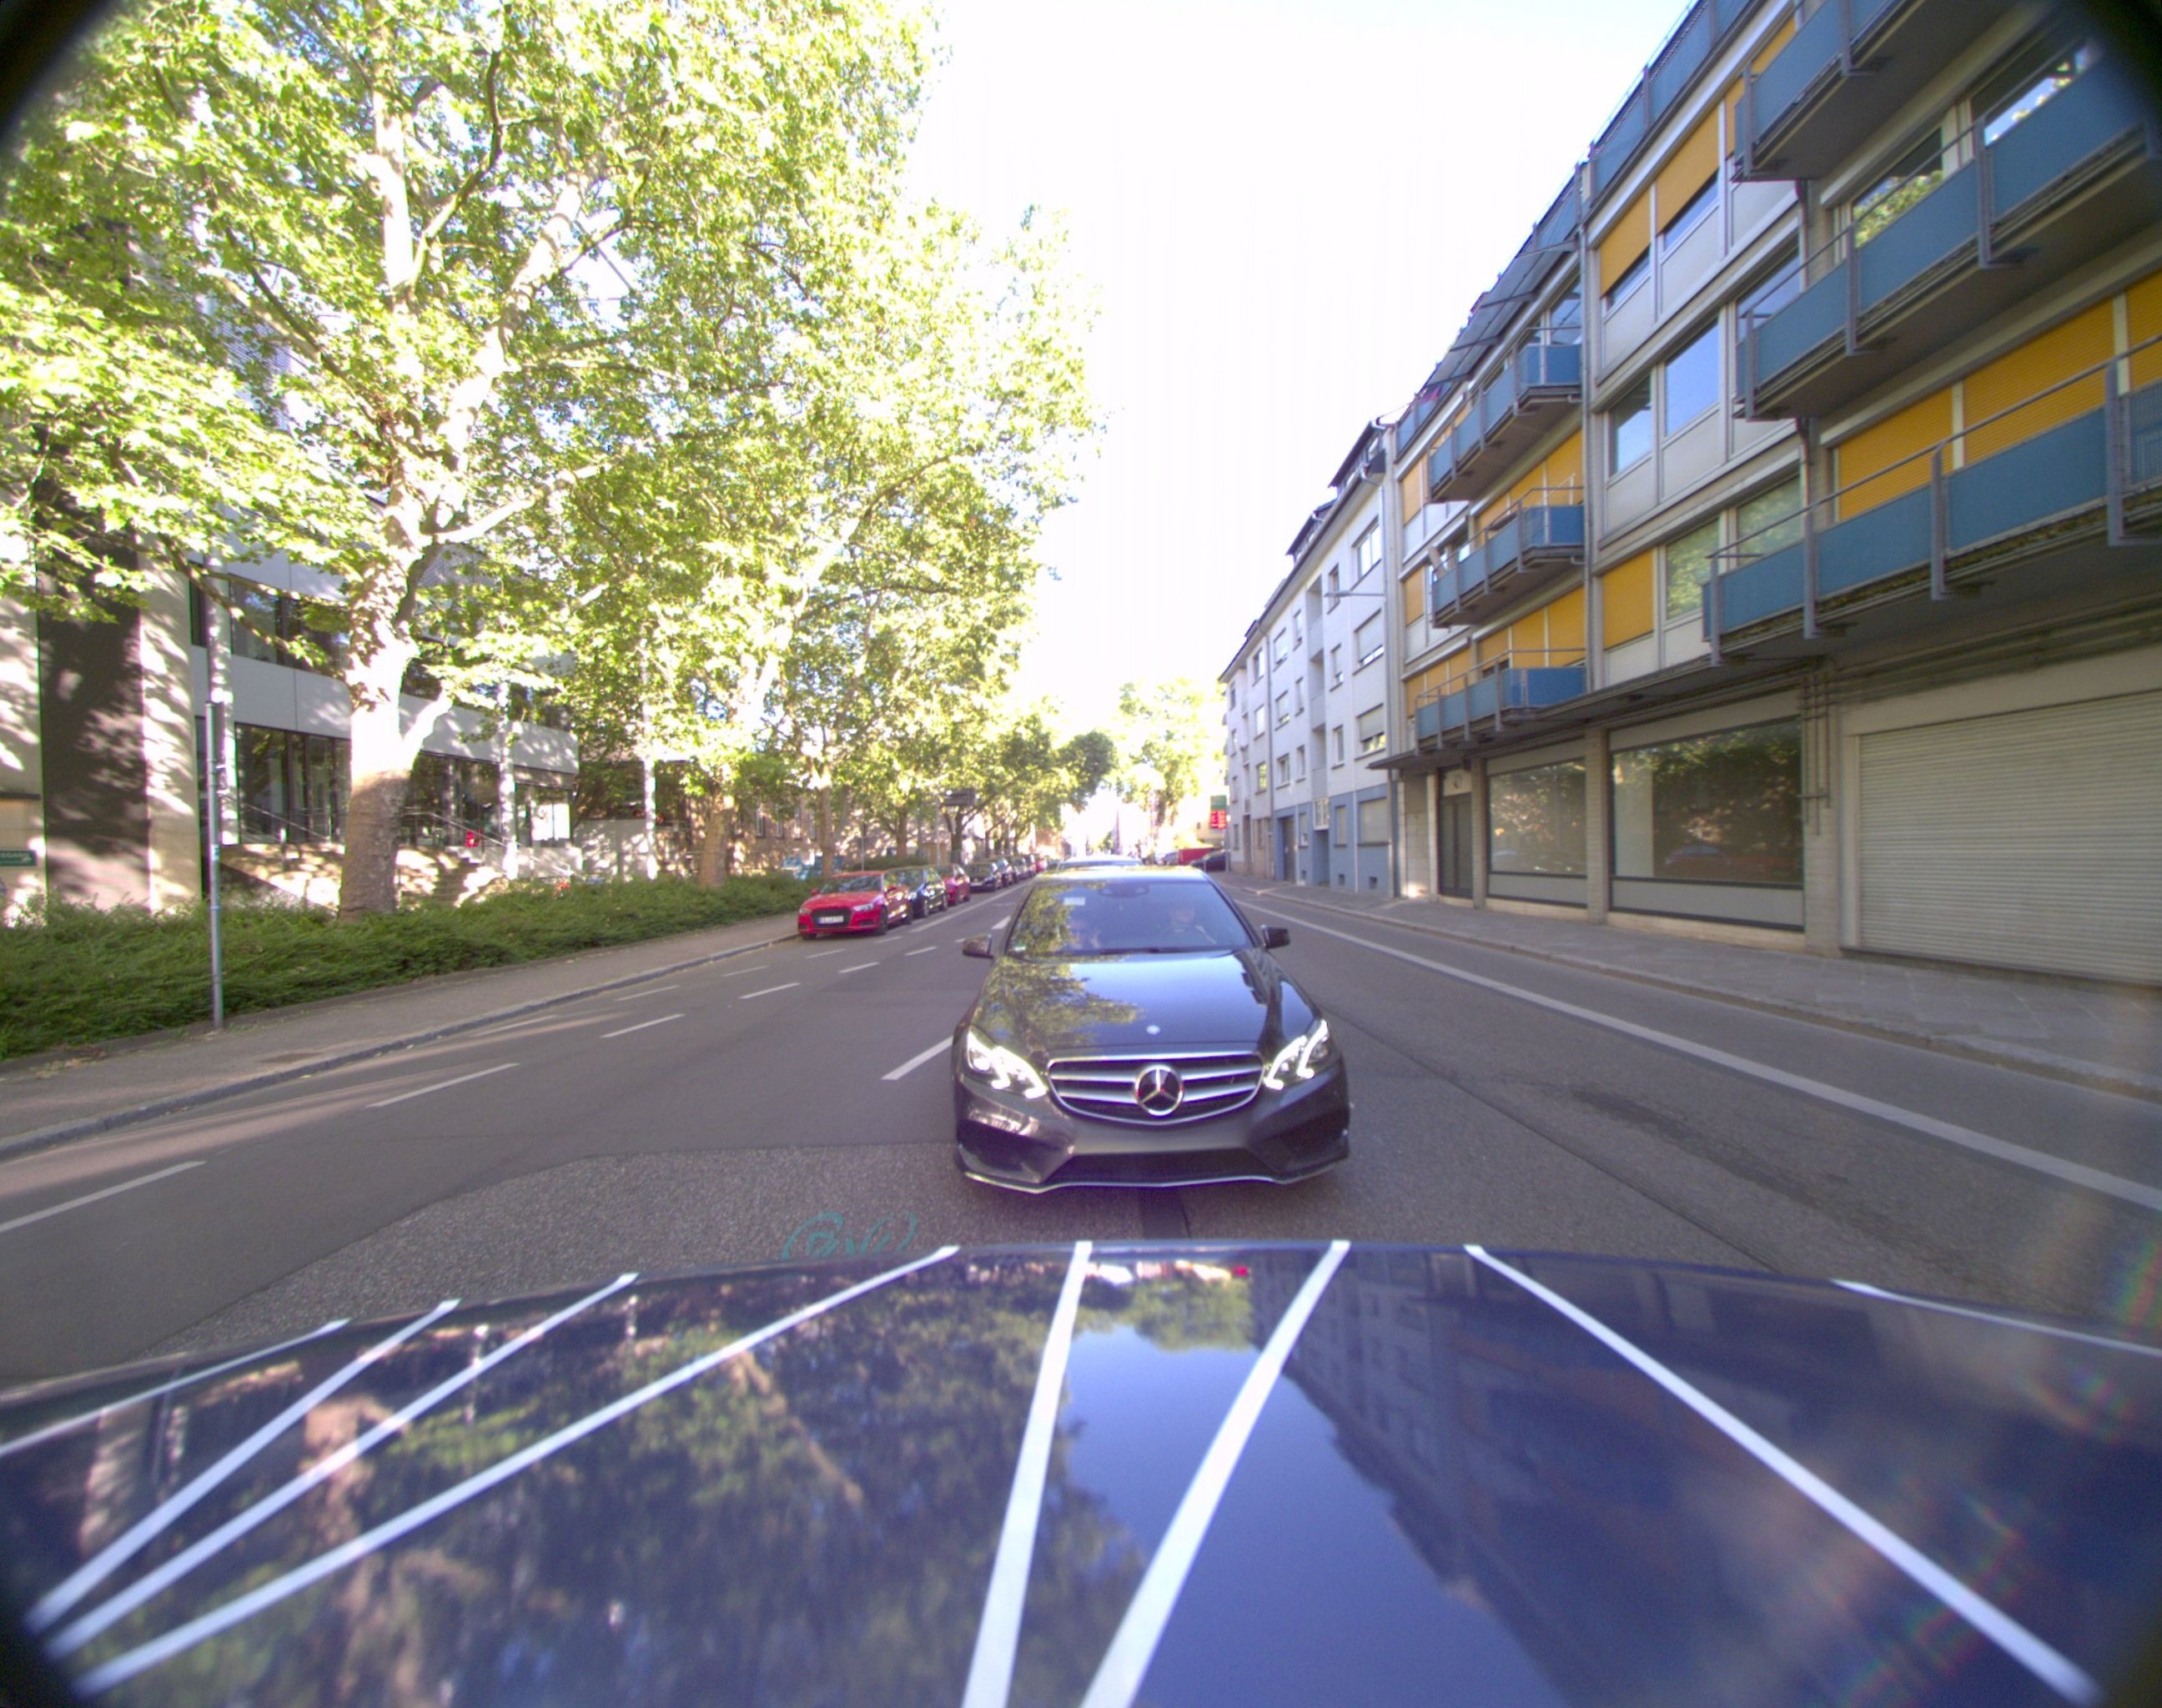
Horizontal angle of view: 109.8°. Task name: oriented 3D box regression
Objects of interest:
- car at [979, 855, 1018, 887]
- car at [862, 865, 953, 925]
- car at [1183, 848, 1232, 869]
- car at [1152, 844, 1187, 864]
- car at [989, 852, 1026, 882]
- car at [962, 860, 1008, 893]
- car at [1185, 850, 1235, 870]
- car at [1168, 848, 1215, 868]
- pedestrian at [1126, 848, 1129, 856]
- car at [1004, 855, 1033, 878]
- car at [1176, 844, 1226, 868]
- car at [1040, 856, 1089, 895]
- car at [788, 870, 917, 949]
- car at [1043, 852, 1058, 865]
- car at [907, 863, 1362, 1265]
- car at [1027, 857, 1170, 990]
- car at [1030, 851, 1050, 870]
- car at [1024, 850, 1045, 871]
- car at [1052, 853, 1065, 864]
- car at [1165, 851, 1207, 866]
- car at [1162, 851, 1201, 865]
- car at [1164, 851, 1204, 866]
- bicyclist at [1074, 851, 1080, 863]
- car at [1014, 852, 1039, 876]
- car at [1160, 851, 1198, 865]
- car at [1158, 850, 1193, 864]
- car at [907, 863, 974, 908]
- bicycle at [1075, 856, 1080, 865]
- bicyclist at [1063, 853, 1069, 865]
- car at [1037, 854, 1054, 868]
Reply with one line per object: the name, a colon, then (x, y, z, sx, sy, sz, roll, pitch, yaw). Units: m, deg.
car: (-4.536, 0.907, 42.068, 1.686, 1.610, 3.836, -2, 0, 0)
car: (-5.010, 1.128, 22.423, 1.686, 1.458, 4.000, -3, 0, 0)
car: (10.129, 0.359, 61.140, 3.668, 1.501, 1.602, -2, 1, 2)
car: (10.399, 0.026, 89.314, 3.905, 2.164, 1.725, -2, 1, 2)
car: (-4.593, 0.771, 48.193, 1.819, 1.758, 4.431, -2, 0, 0)
car: (-4.664, 1.047, 37.408, 1.686, 1.443, 4.000, -2, 0, 0)
car: (9.960, 0.459, 58.735, 3.598, 1.401, 1.534, -2, 0, 2)
car: (9.715, 0.332, 66.780, 3.905, 1.577, 1.603, -2, 1, 2)
pedestrian: (12.729, -0.438, 207.596, 0.884, 2.108, 0.821, -2, 1, 4)
car: (-4.425, 0.875, 54.517, 1.686, 1.552, 3.868, -2, 0, 0)
car: (10.074, 0.167, 63.985, 3.905, 1.895, 1.749, -2, 1, 2)
car: (-0.647, 0.881, 32.554, 1.693, 1.432, 3.902, -3, 0, 3)
car: (-5.128, 1.189, 17.664, 1.724, 1.412, 4.030, -4, 0, -1)
car: (-3.792, 0.597, 95.690, 1.686, 1.546, 3.836, -2, 0, 0)
car: (0.216, 0.897, 5.288, 1.828, 1.495, 4.293, -2, 1, 0)
car: (0.208, 0.881, 11.663, 1.732, 1.538, 4.293, -2, 1, 0)
car: (-4.099, 0.635, 76.022, 1.686, 1.749, 3.836, -2, 0, 0)
car: (-4.252, 0.589, 70.231, 1.646, 1.839, 3.836, -2, 0, 0)
car: (-3.131, 0.649, 106.833, 1.686, 1.475, 3.836, -2, 0, 0)
car: (10.372, 0.454, 74.971, 3.905, 1.366, 1.594, -2, 1, 2)
car: (10.519, 0.429, 79.747, 3.905, 1.325, 1.525, -2, 1, 2)
car: (10.403, 0.430, 76.993, 3.905, 1.366, 1.594, -2, 1, 2)
bicyclist: (-0.545, 0.424, 104.798, 0.756, 1.714, 0.768, -2, 1, -1)
car: (-4.217, 0.752, 59.373, 1.663, 1.704, 3.836, -2, 0, 0)
car: (10.528, 0.402, 82.136, 3.905, 1.325, 1.525, -2, 1, 2)
car: (10.540, 0.334, 84.821, 3.782, 1.432, 1.539, -2, 1, 2)
car: (-5.007, 1.093, 27.608, 1.666, 1.426, 3.781, -2, 0, 0)
bicycle: (-0.482, 0.878, 104.789, 0.667, 1.093, 1.814, -2, 1, 0)
bicyclist: (-1.975, 0.675, 101.895, 0.756, 1.512, 0.768, -2, 1, -1)
car: (-4.053, 0.744, 87.067, 1.639, 1.493, 3.752, -2, 0, 0)
